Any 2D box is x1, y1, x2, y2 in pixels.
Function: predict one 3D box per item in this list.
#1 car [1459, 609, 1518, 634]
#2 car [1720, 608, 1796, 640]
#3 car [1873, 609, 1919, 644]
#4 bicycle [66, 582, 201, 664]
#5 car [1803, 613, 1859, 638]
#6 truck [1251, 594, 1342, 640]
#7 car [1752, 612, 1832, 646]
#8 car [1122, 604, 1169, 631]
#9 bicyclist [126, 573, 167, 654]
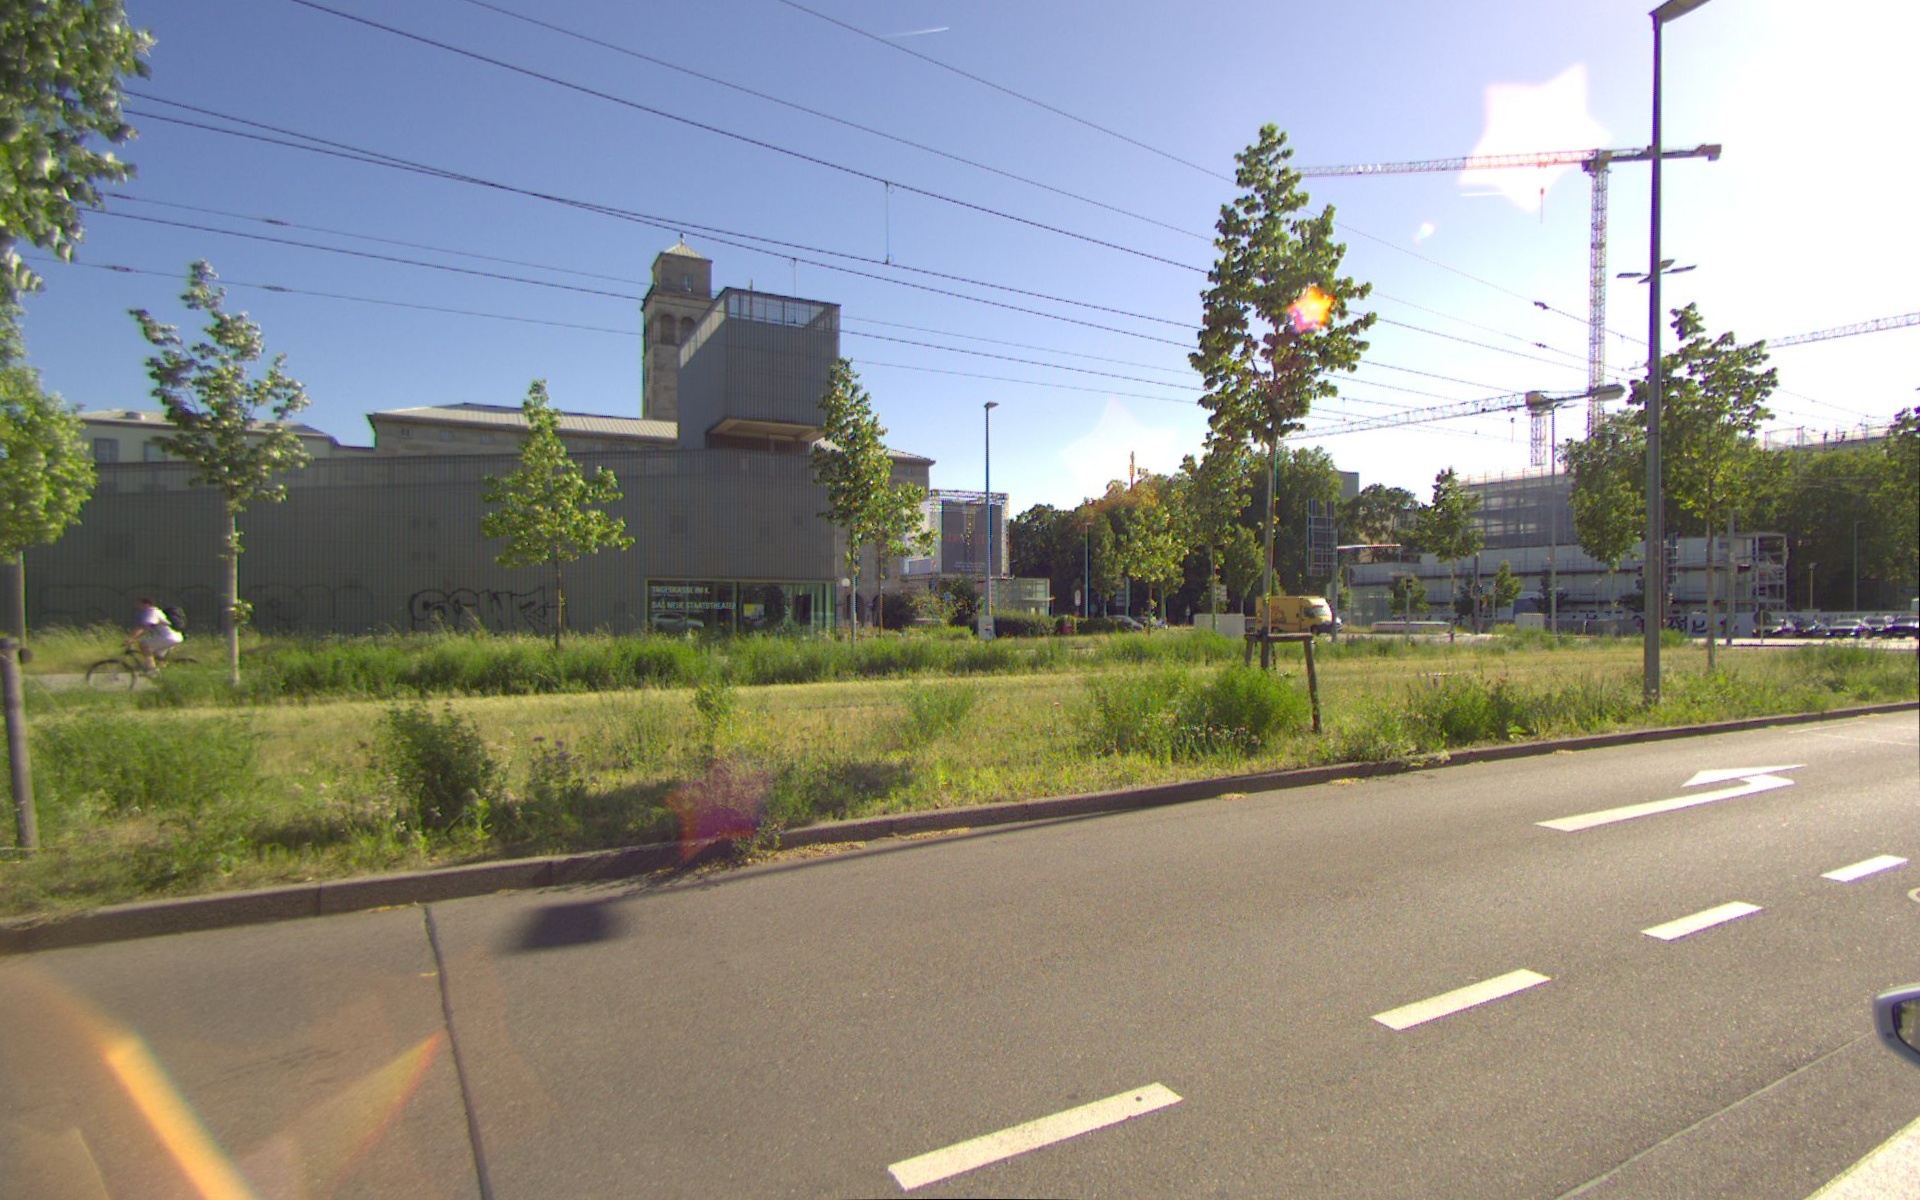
[{"bbox_3d":[36.462,1.484,69.275,3.953,1.577,1.702,1,1,-30],"label":"car"},{"bbox_3d":[32.301,0.982,40.627,3.184,1.194,1.369,1,1,-31],"label":"car"},{"bbox_3d":[34.510,0.966,36.284,3.184,1.194,1.369,1,1,-31],"label":"car"},{"bbox_3d":[-15.303,0.419,18.649,1.891,1.475,0.358,0,0,-31],"label":"bicycle"},{"bbox_3d":[61.024,1.771,70.331,3.851,1.634,1.828,1,1,-31],"label":"car"},{"bbox_3d":[24.472,1.196,73.358,1.973,3.003,6.941,1,1,-25],"label":"truck"},{"bbox_3d":[31.815,1.111,38.417,3.184,1.194,1.369,1,1,-31],"label":"car"},{"bbox_3d":[15.329,1.392,83.059,1.747,2.041,3.971,1,1,-28],"label":"car"},{"bbox_3d":[-15.150,0.244,18.707,0.533,1.474,0.392,0,2,-31],"label":"bicyclist"}]
